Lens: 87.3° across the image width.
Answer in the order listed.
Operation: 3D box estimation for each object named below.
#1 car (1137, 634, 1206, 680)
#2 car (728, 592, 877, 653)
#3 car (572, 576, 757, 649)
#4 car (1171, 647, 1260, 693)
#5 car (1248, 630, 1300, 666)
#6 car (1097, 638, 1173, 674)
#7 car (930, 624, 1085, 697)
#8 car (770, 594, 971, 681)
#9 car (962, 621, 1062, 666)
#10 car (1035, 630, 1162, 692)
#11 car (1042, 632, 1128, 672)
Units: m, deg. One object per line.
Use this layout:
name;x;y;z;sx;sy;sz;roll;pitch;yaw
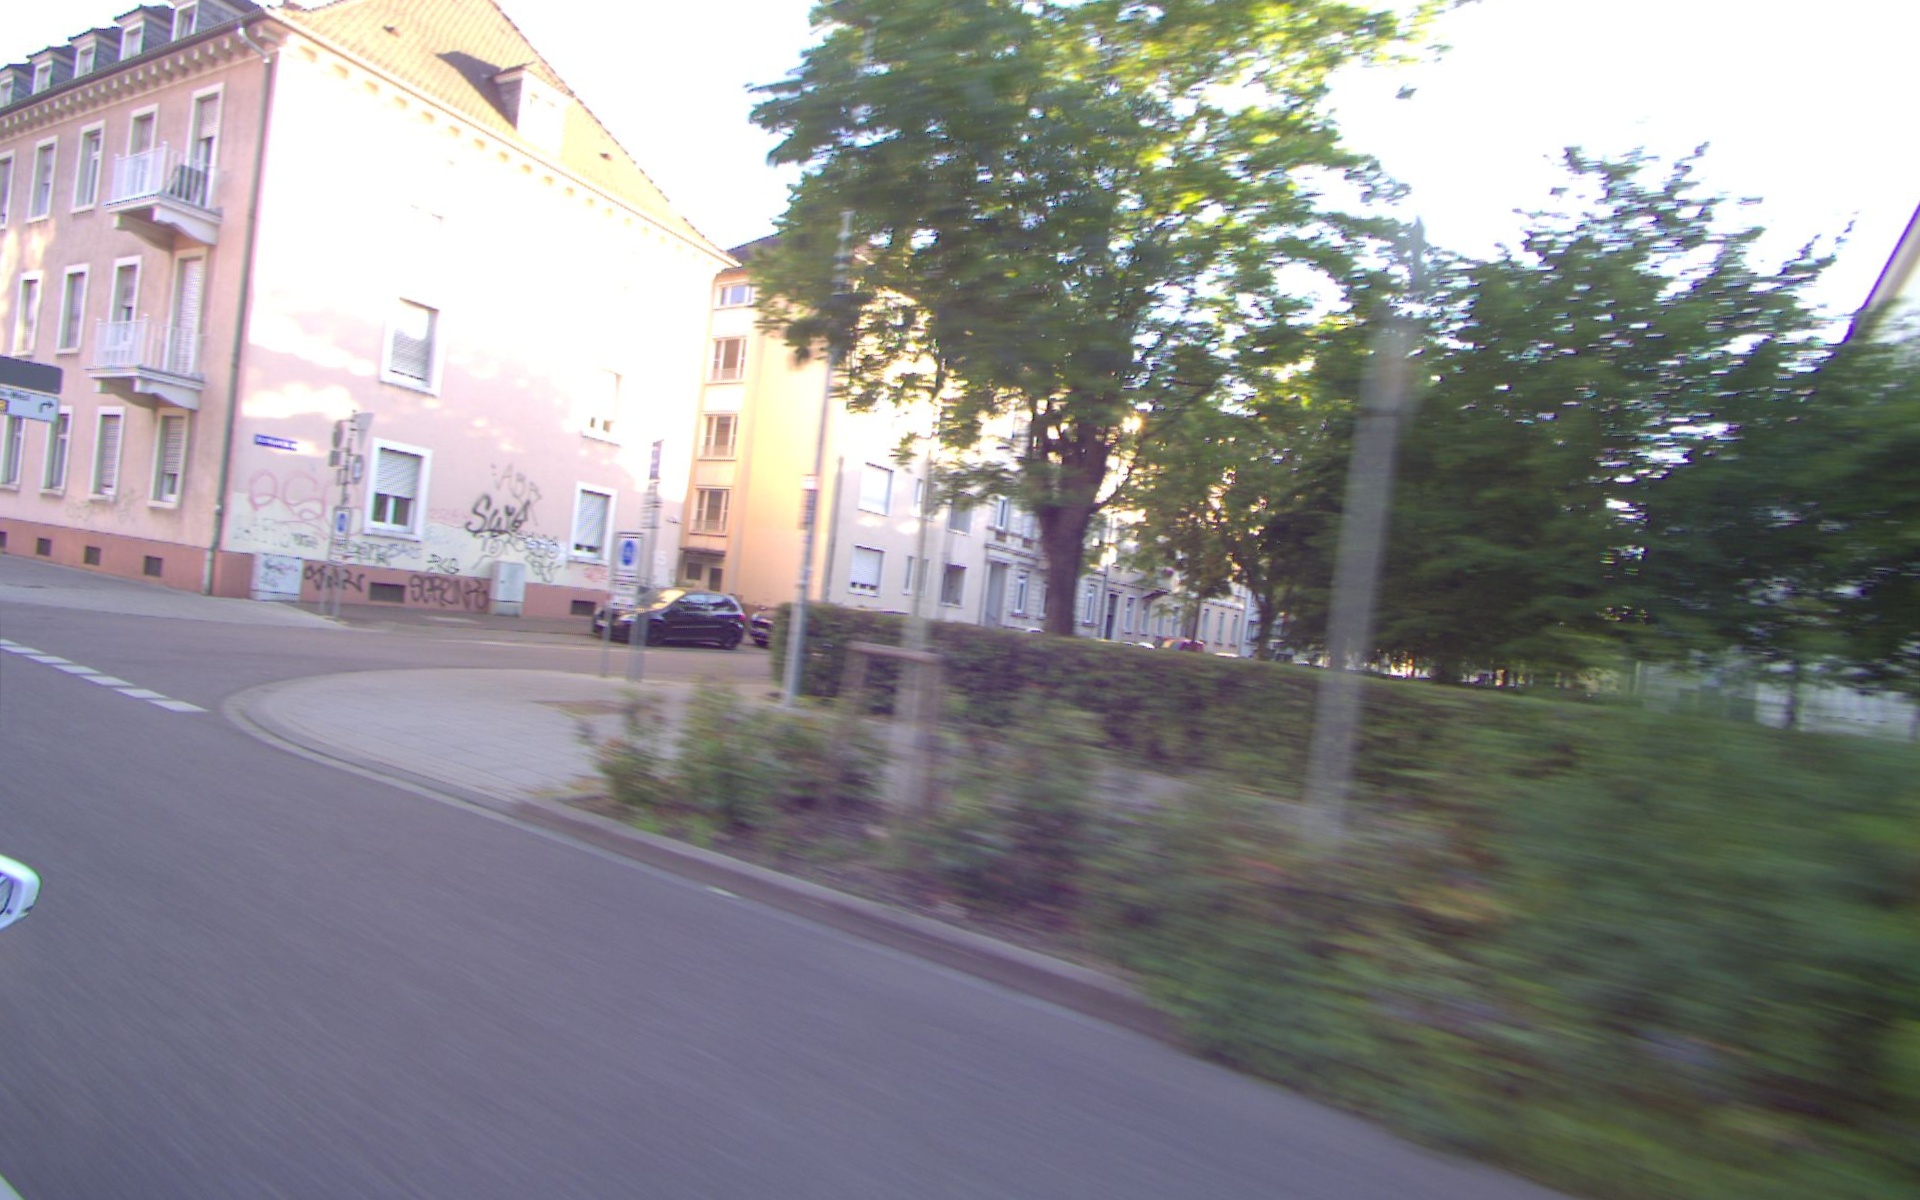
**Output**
car;11.321;3.051;53.678;1.842;2.166;4.239;7;1;37
car;-4.619;0.704;30.093;1.842;1.500;4.239;7;1;37
car;-7.440;0.370;25.738;1.841;1.500;4.241;6;1;35
car;10.017;2.722;39.224;1.841;1.500;4.241;6;1;35
car;21.399;3.288;68.460;1.842;2.166;4.525;7;1;37
car;8.606;2.741;49.118;1.842;1.500;4.239;7;1;37
car;1.294;1.514;25.392;1.841;1.500;4.241;6;1;35
car;-1.771;0.816;21.204;1.841;1.500;4.241;6;1;35
car;2.123;1.741;39.904;1.842;1.500;4.239;7;1;37
car;4.137;1.781;29.433;1.841;1.500;4.241;6;1;35
car;5.591;2.323;44.720;1.842;1.500;4.239;7;1;37
